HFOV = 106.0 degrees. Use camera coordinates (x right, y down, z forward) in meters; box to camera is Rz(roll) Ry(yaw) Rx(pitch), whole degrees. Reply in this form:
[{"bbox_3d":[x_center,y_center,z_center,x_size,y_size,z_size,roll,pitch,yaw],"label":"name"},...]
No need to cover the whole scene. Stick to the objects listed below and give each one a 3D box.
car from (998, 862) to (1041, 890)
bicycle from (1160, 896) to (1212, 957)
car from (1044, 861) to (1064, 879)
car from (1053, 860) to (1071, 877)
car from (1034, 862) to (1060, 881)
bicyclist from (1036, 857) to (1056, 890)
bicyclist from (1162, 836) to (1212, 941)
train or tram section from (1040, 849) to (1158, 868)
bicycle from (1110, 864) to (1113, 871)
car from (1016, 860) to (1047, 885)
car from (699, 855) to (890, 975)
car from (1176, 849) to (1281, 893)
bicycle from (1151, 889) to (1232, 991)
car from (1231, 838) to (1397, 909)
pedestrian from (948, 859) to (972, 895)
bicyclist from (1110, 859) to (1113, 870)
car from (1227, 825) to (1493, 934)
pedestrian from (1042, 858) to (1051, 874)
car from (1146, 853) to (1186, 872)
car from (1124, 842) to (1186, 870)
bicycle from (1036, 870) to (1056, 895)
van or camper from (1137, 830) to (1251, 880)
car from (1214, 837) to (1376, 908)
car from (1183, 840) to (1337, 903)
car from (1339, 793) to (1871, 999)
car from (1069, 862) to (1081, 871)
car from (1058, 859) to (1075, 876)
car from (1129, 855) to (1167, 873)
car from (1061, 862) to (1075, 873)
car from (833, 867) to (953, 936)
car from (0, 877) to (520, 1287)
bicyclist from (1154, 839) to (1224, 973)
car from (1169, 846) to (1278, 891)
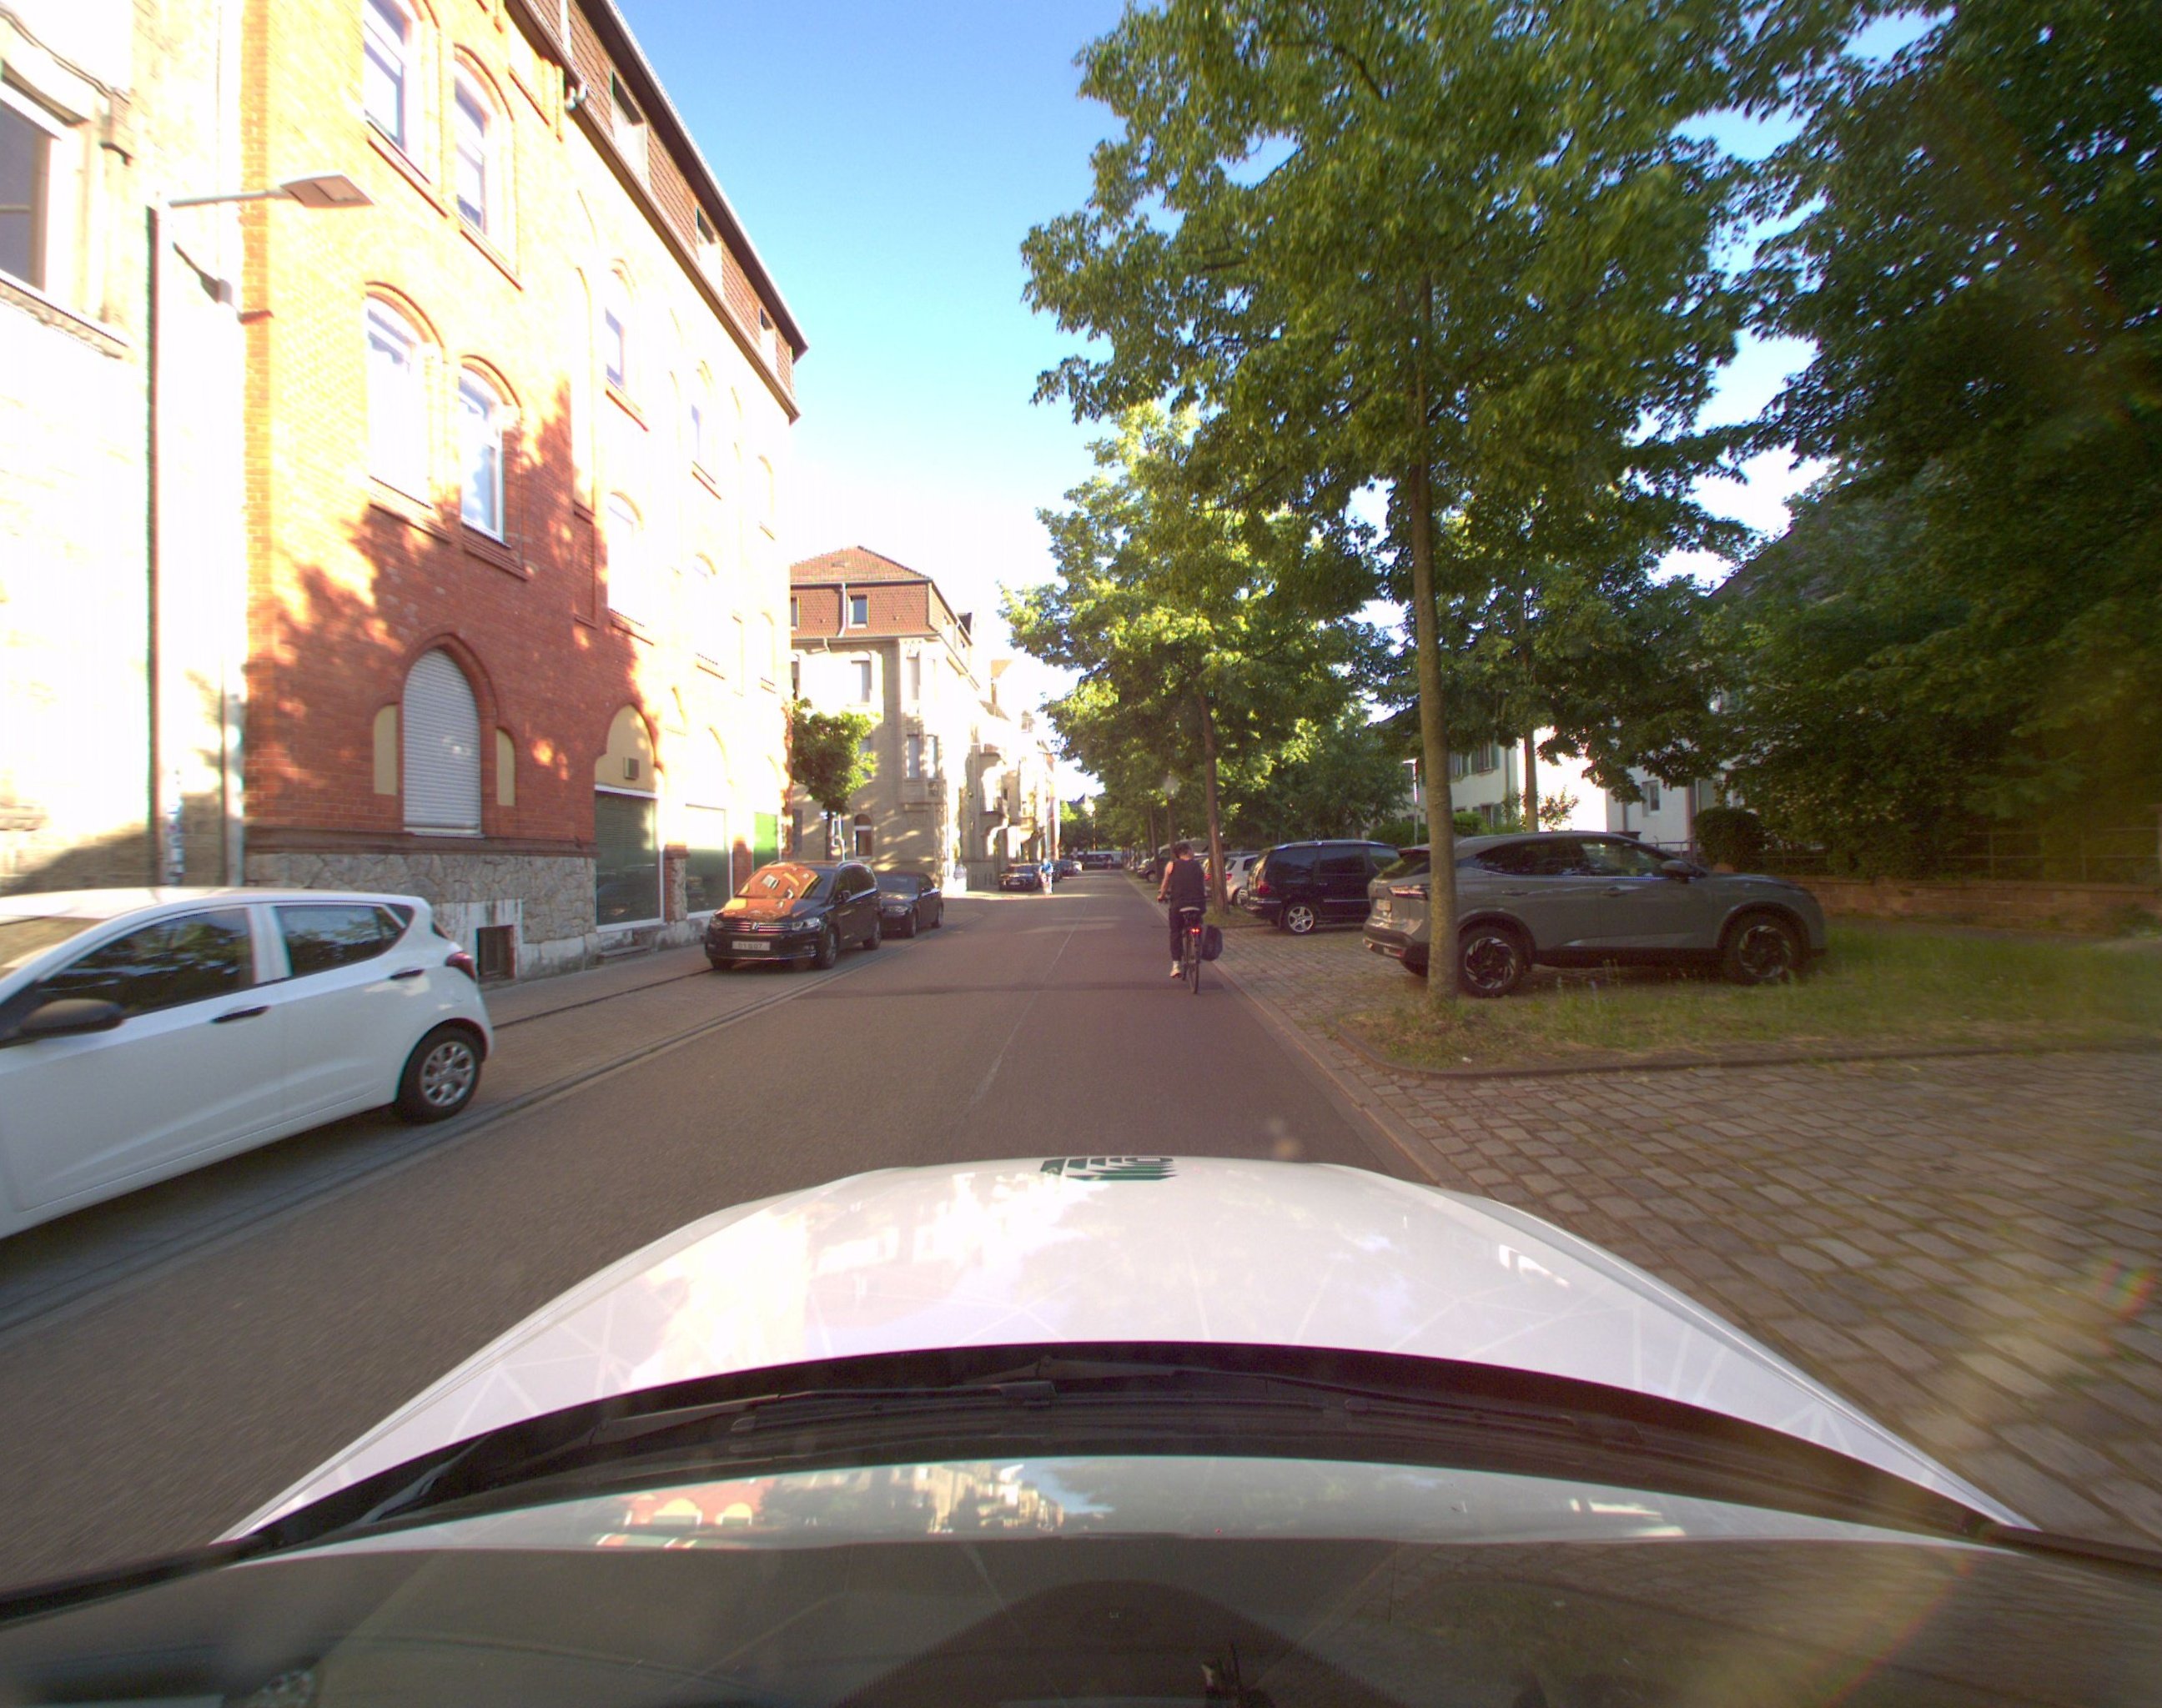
[{"bbox_3d":[-3.337,1.185,45.022,1.804,1.427,4.899,1,-1,1],"label":"car"},{"bbox_3d":[1.672,1.141,13.184,0.631,0.799,1.833,-2,0,2],"label":"bicycle"},{"bbox_3d":[-2.421,1.446,73.570,1.590,1.489,2.736,2,0,0],"label":"car"},{"bbox_3d":[-2.038,1.528,87.189,1.634,1.783,4.357,1,0,2],"label":"car"},{"bbox_3d":[-2.613,1.351,63.831,1.669,1.430,4.553,1,0,2],"label":"car"},{"bbox_3d":[-1.591,0.885,36.930,0.757,1.454,0.949,-2,-1,1],"label":"bicyclist"},{"bbox_3d":[1.694,0.543,13.191,0.686,1.627,0.998,0,-1,1],"label":"bicyclist"},{"bbox_3d":[3.785,0.992,164.482,23.890,3.709,4.256,0,-1,-21],"label":"train or tram section"},{"bbox_3d":[4.646,2.016,122.903,0.496,1.005,1.474,-1,-2,2],"label":"bicycle"},{"bbox_3d":[-3.092,1.173,51.697,1.690,1.453,4.027,-1,-1,0],"label":"car"},{"bbox_3d":[-4.582,0.896,13.753,1.664,1.681,4.349,0,-1,0],"label":"car"},{"bbox_3d":[6.142,0.706,34.167,4.052,1.476,1.695,-5,0,2],"label":"car"},{"bbox_3d":[1.286,0.977,9.812,0.735,1.054,1.956,0,-1,1],"label":"bicycle"},{"bbox_3d":[5.861,0.478,20.762,3.708,1.453,1.589,-5,-1,1],"label":"car"},{"bbox_3d":[-5.616,1.067,37.879,0.884,1.577,1.054,-3,0,2],"label":"pedestrian"},{"bbox_3d":[4.643,1.603,122.903,0.484,1.744,0.656,0,-1,2],"label":"bicyclist"},{"bbox_3d":[5.357,0.481,16.170,4.562,1.677,1.908,-5,-1,3],"label":"car"},{"bbox_3d":[-3.729,1.356,89.049,0.934,1.742,0.735,0,-1,3],"label":"pedestrian"},{"bbox_3d":[8.098,0.851,77.793,3.757,1.600,1.692,-2,-3,3],"label":"car"},{"bbox_3d":[8.851,0.277,98.500,7.126,2.978,2.463,-3,-1,-1],"label":"car"},{"bbox_3d":[-1.569,1.273,36.950,0.755,1.107,1.908,-2,-1,2],"label":"bicycle"},{"bbox_3d":[7.362,0.045,53.602,7.116,2.647,2.466,-5,-1,3],"label":"van or camper"},{"bbox_3d":[6.119,0.529,23.673,4.253,1.633,1.692,-5,-1,4],"label":"car"},{"bbox_3d":[5.831,0.569,26.776,4.531,1.633,1.809,-5,-1,-5],"label":"car"},{"bbox_3d":[5.364,0.413,8.821,4.461,1.633,1.875,-5,-1,0],"label":"car"},{"bbox_3d":[-0.870,1.879,122.126,1.577,1.375,4.134,1,0,2],"label":"car"},{"bbox_3d":[-1.610,1.568,93.906,1.682,1.826,4.275,1,0,2],"label":"car"},{"bbox_3d":[7.521,1.115,91.283,4.070,1.650,1.640,-4,-1,-1],"label":"car"},{"bbox_3d":[-1.623,1.761,104.536,1.577,1.343,4.134,1,0,2],"label":"car"},{"bbox_3d":[-4.269,1.019,19.152,1.629,1.411,4.335,1,-1,2],"label":"car"},{"bbox_3d":[-4.795,0.900,3.899,1.559,1.470,3.595,0,0,4],"label":"car"},{"bbox_3d":[1.293,0.614,9.883,0.727,1.548,0.884,0,-2,1],"label":"bicyclist"},{"bbox_3d":[6.384,0.642,36.794,4.600,1.709,1.835,-4,-1,3],"label":"car"}]
